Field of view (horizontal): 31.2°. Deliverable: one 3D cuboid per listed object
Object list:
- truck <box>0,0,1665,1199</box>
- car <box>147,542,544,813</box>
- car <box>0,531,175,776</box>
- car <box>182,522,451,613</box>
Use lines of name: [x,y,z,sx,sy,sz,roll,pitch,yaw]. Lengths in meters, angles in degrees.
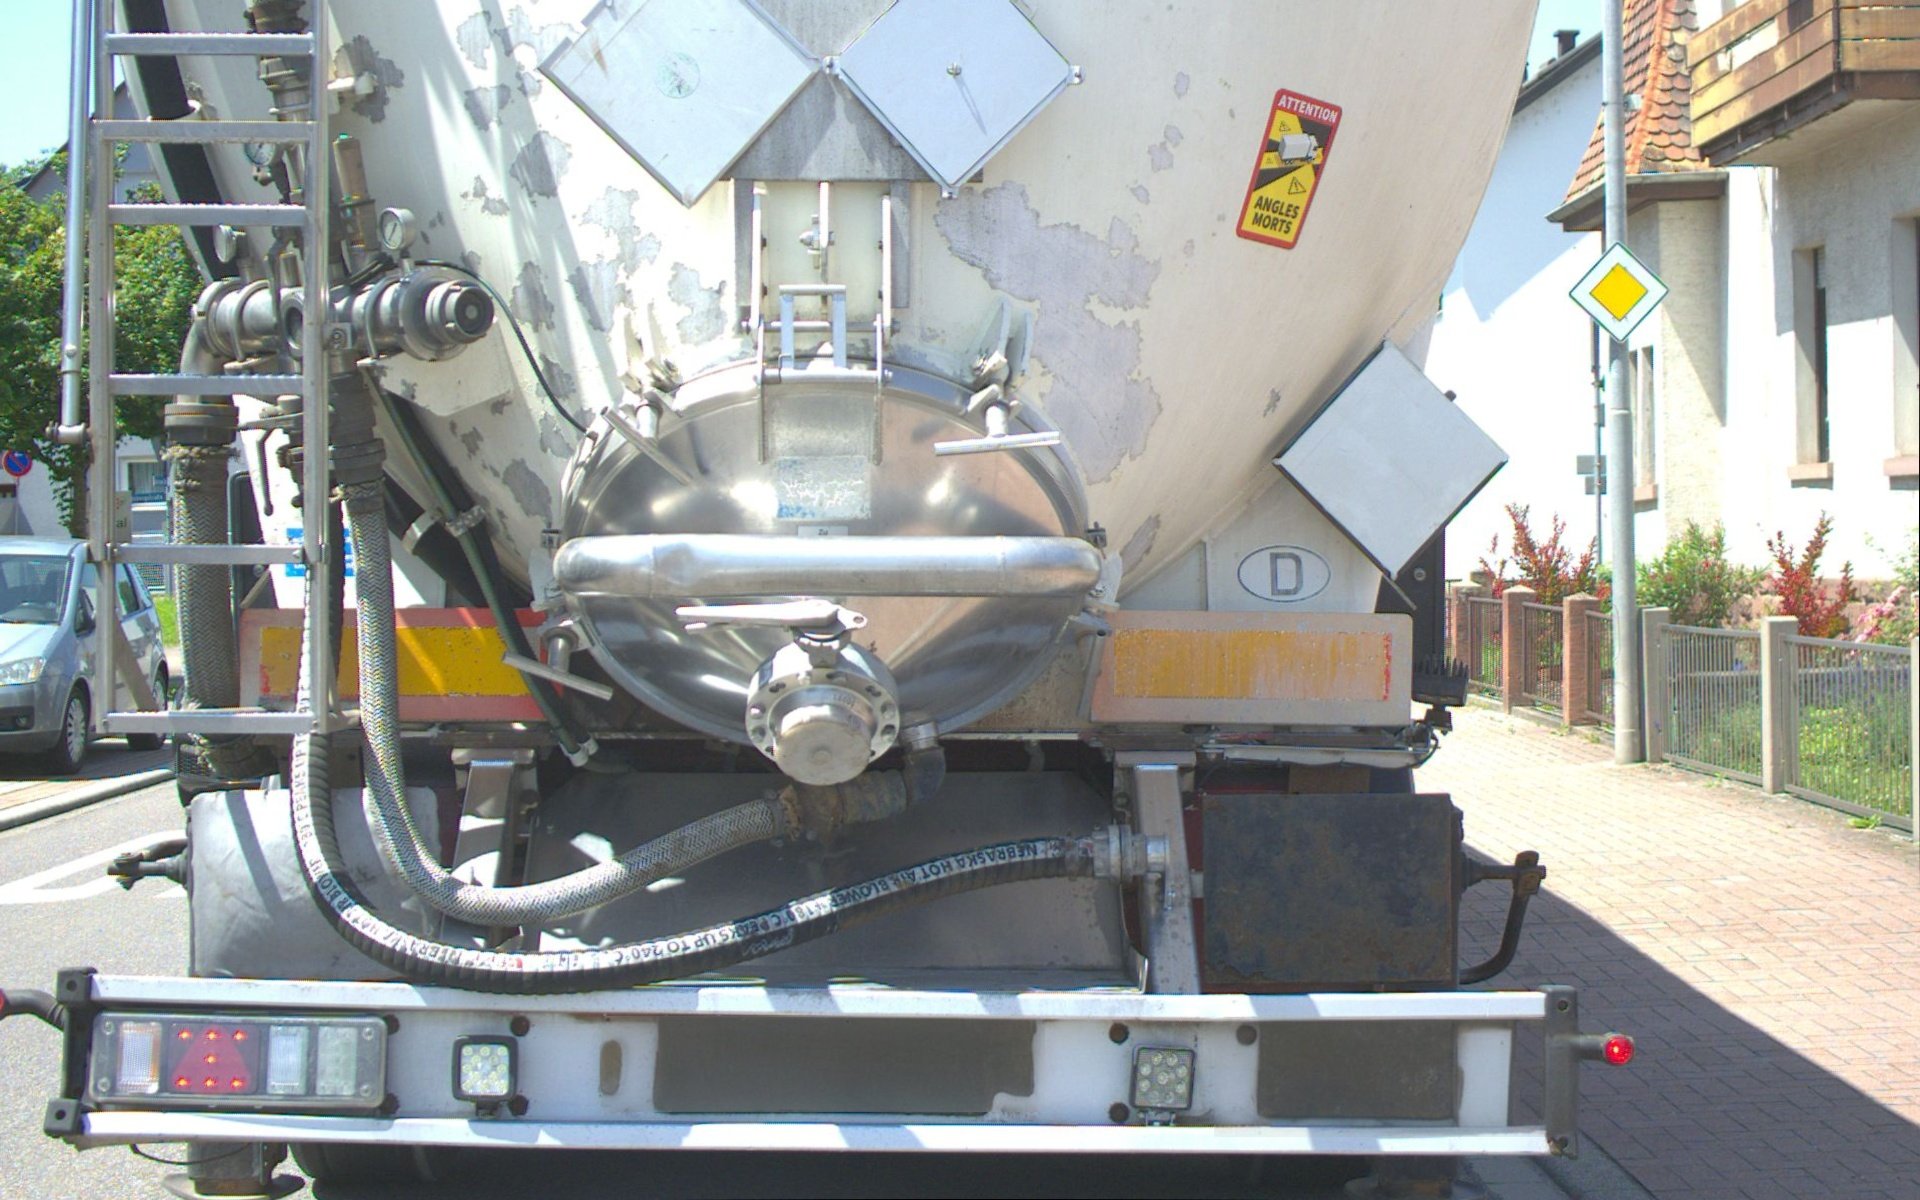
truck: [-0.315,-0.708,9.861,2.641,4.002,9.562,0,1,0]
car: [-3.763,0.407,21.756,1.719,1.441,4.255,-3,1,0]
car: [-6.744,0.304,24.067,1.697,1.575,3.838,0,1,-1]
car: [-12.035,-0.614,64.440,4.626,1.645,1.740,0,1,8]
